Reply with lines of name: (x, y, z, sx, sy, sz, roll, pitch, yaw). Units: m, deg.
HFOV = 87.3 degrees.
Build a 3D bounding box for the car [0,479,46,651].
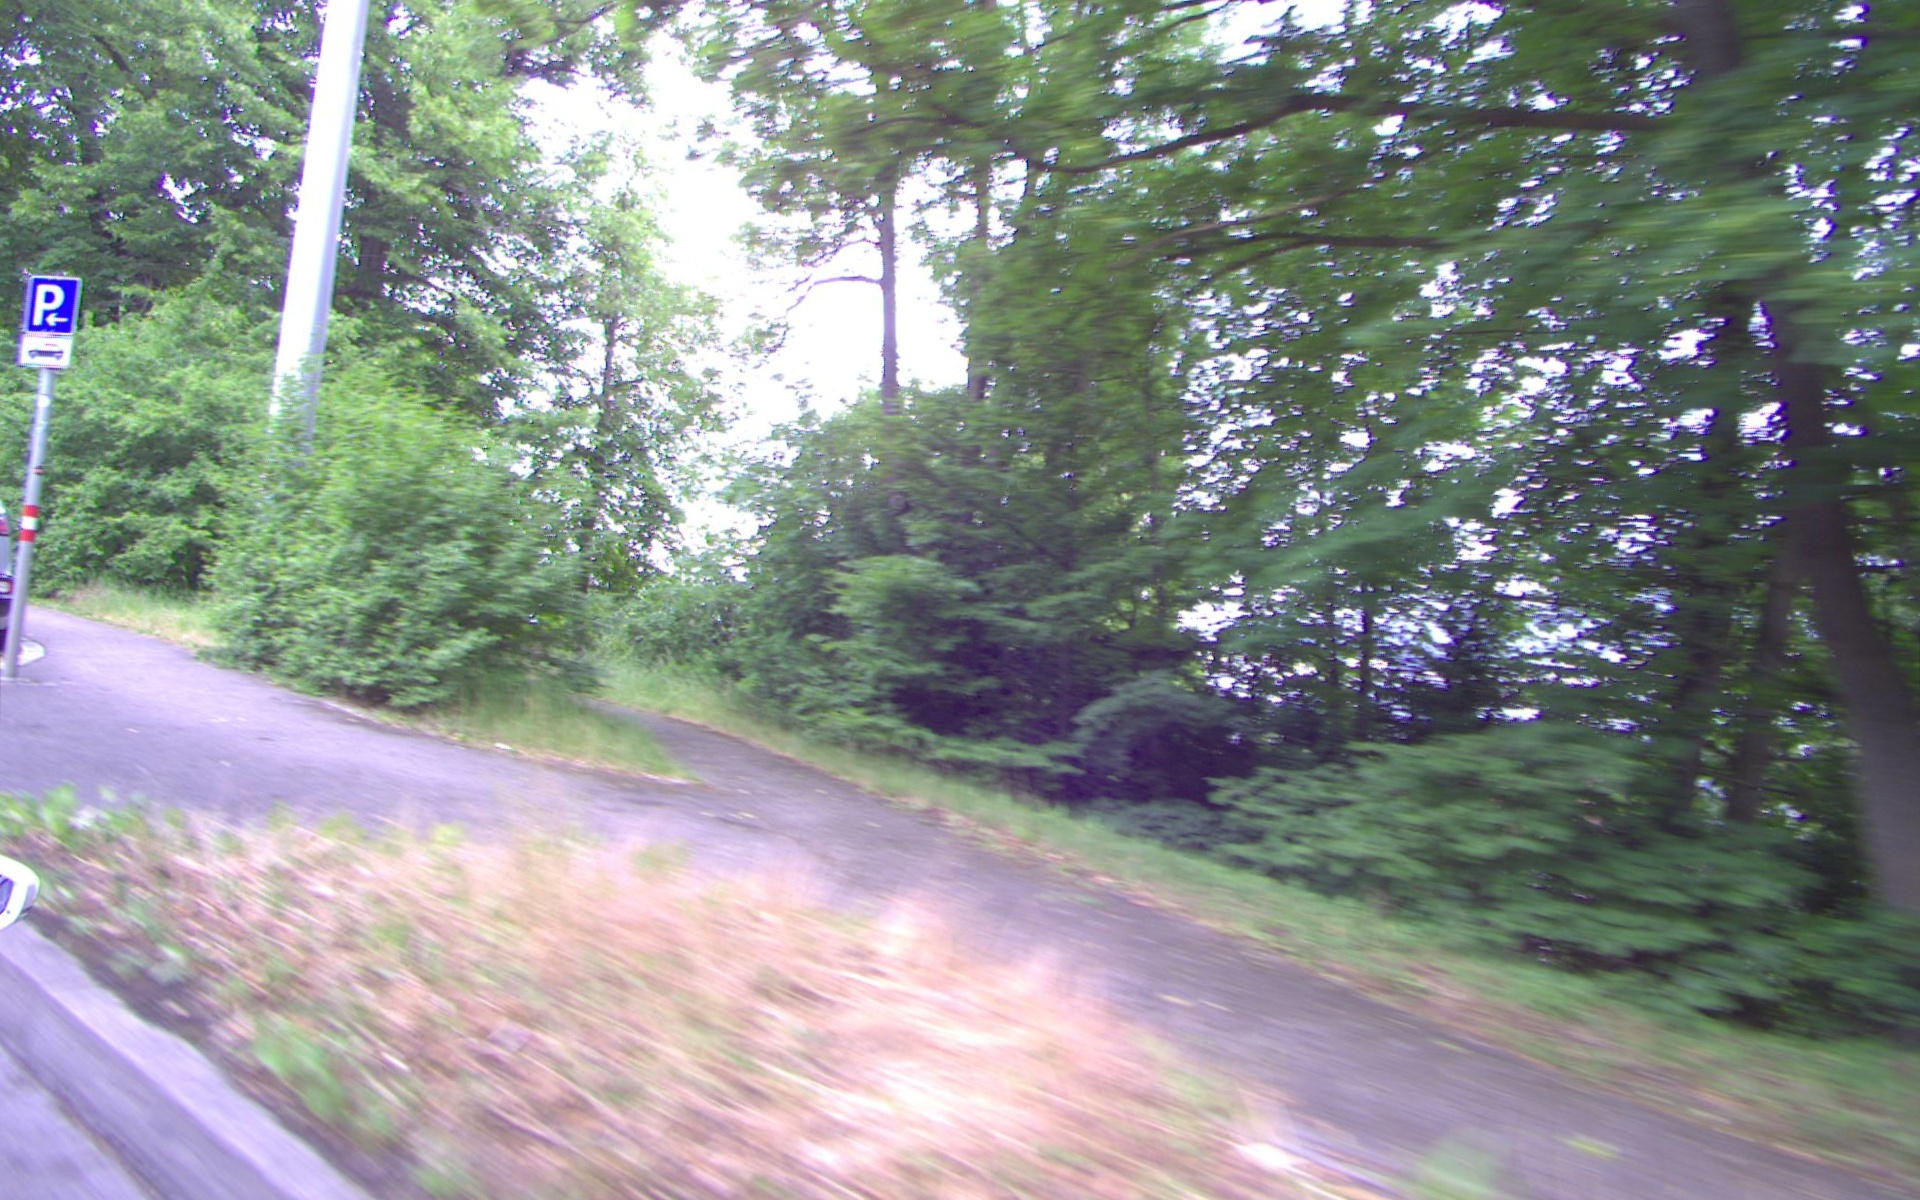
car: (-10.639, -0.543, 9.434, 3.931, 1.543, 1.806, 6, 0, 29)
